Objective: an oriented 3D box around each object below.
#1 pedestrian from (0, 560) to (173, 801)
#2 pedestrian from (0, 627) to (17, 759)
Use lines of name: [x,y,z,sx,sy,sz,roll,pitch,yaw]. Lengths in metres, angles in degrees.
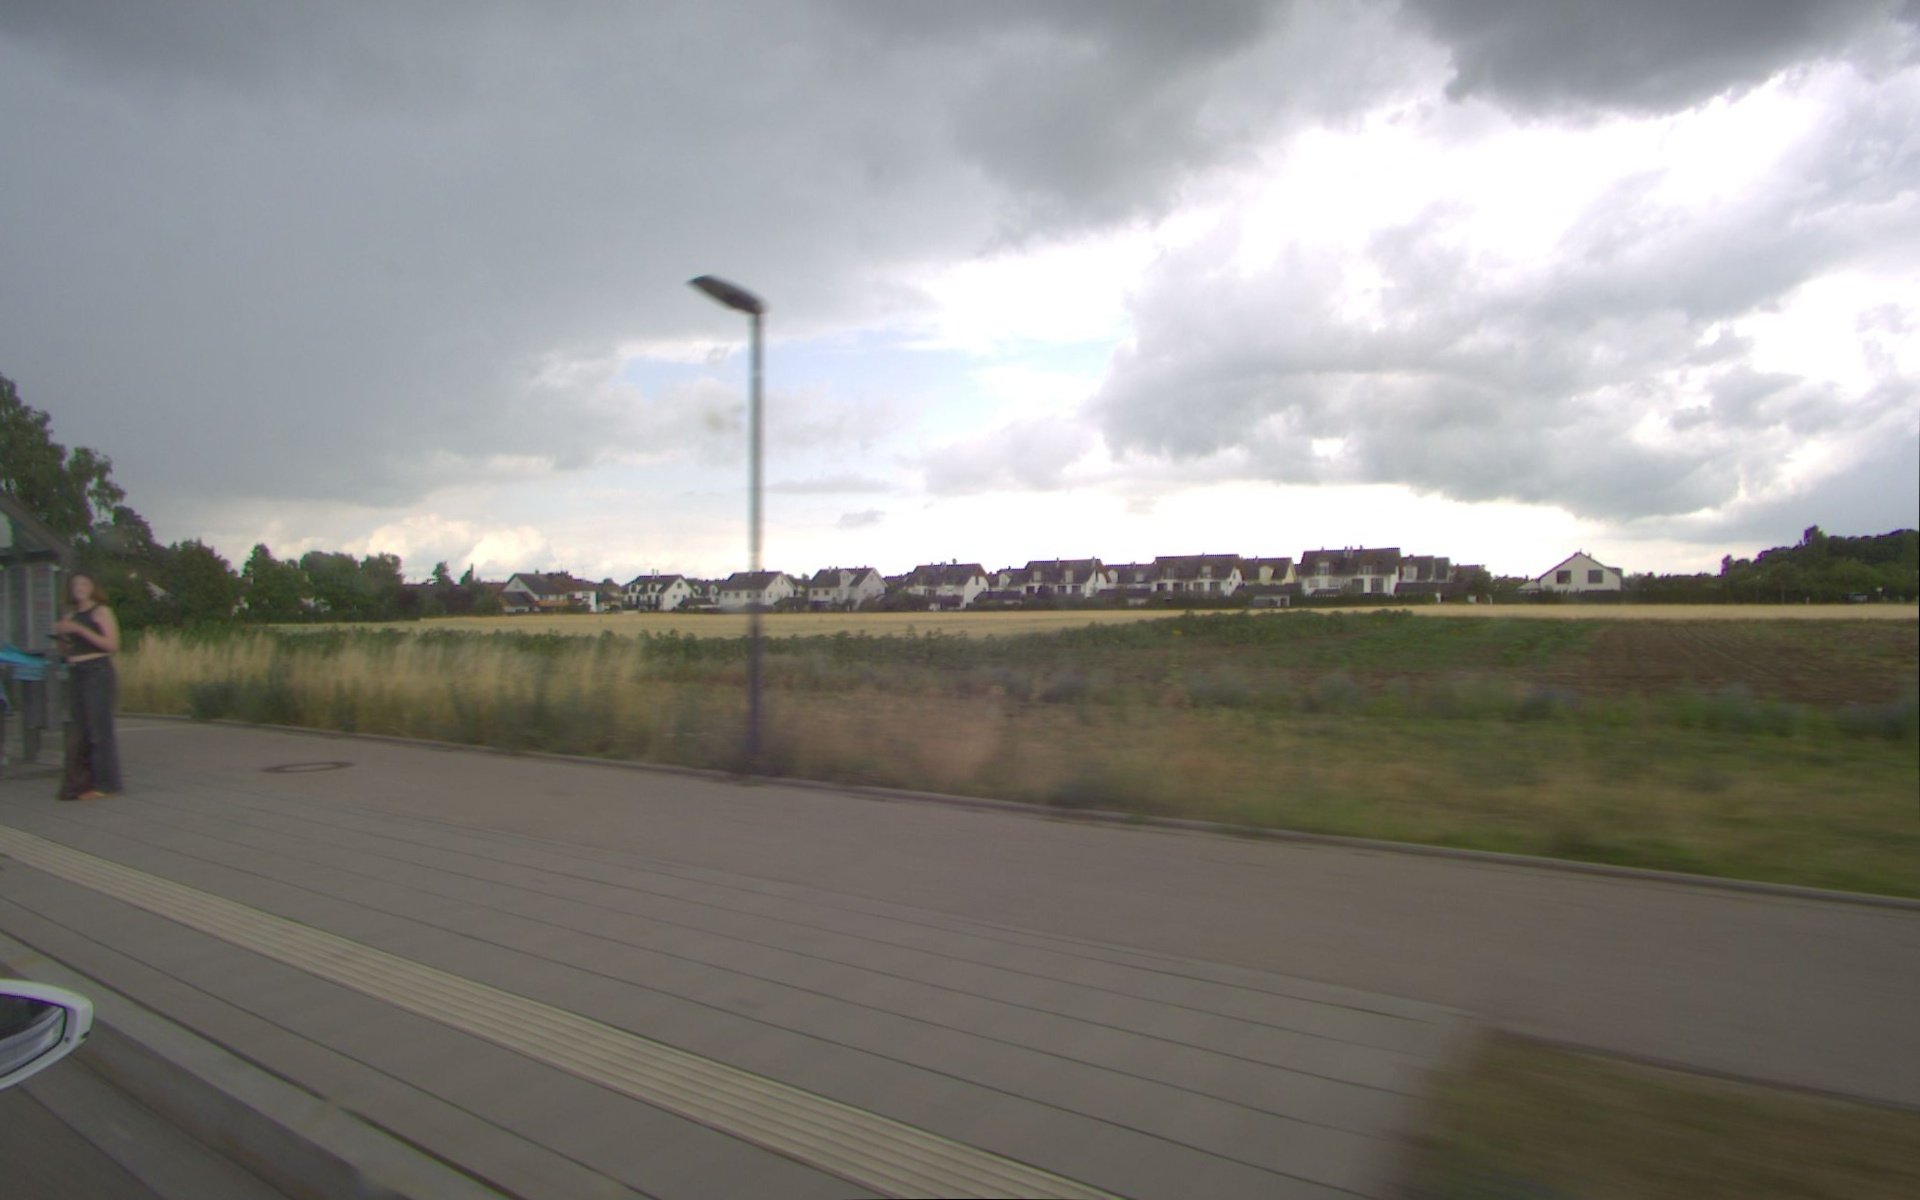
pedestrian: [-7.014,0.622,8.021,0.764,1.815,0.783,0,-1,11]
pedestrian: [-9.930,0.930,10.024,0.499,1.319,0.661,-1,-2,42]
